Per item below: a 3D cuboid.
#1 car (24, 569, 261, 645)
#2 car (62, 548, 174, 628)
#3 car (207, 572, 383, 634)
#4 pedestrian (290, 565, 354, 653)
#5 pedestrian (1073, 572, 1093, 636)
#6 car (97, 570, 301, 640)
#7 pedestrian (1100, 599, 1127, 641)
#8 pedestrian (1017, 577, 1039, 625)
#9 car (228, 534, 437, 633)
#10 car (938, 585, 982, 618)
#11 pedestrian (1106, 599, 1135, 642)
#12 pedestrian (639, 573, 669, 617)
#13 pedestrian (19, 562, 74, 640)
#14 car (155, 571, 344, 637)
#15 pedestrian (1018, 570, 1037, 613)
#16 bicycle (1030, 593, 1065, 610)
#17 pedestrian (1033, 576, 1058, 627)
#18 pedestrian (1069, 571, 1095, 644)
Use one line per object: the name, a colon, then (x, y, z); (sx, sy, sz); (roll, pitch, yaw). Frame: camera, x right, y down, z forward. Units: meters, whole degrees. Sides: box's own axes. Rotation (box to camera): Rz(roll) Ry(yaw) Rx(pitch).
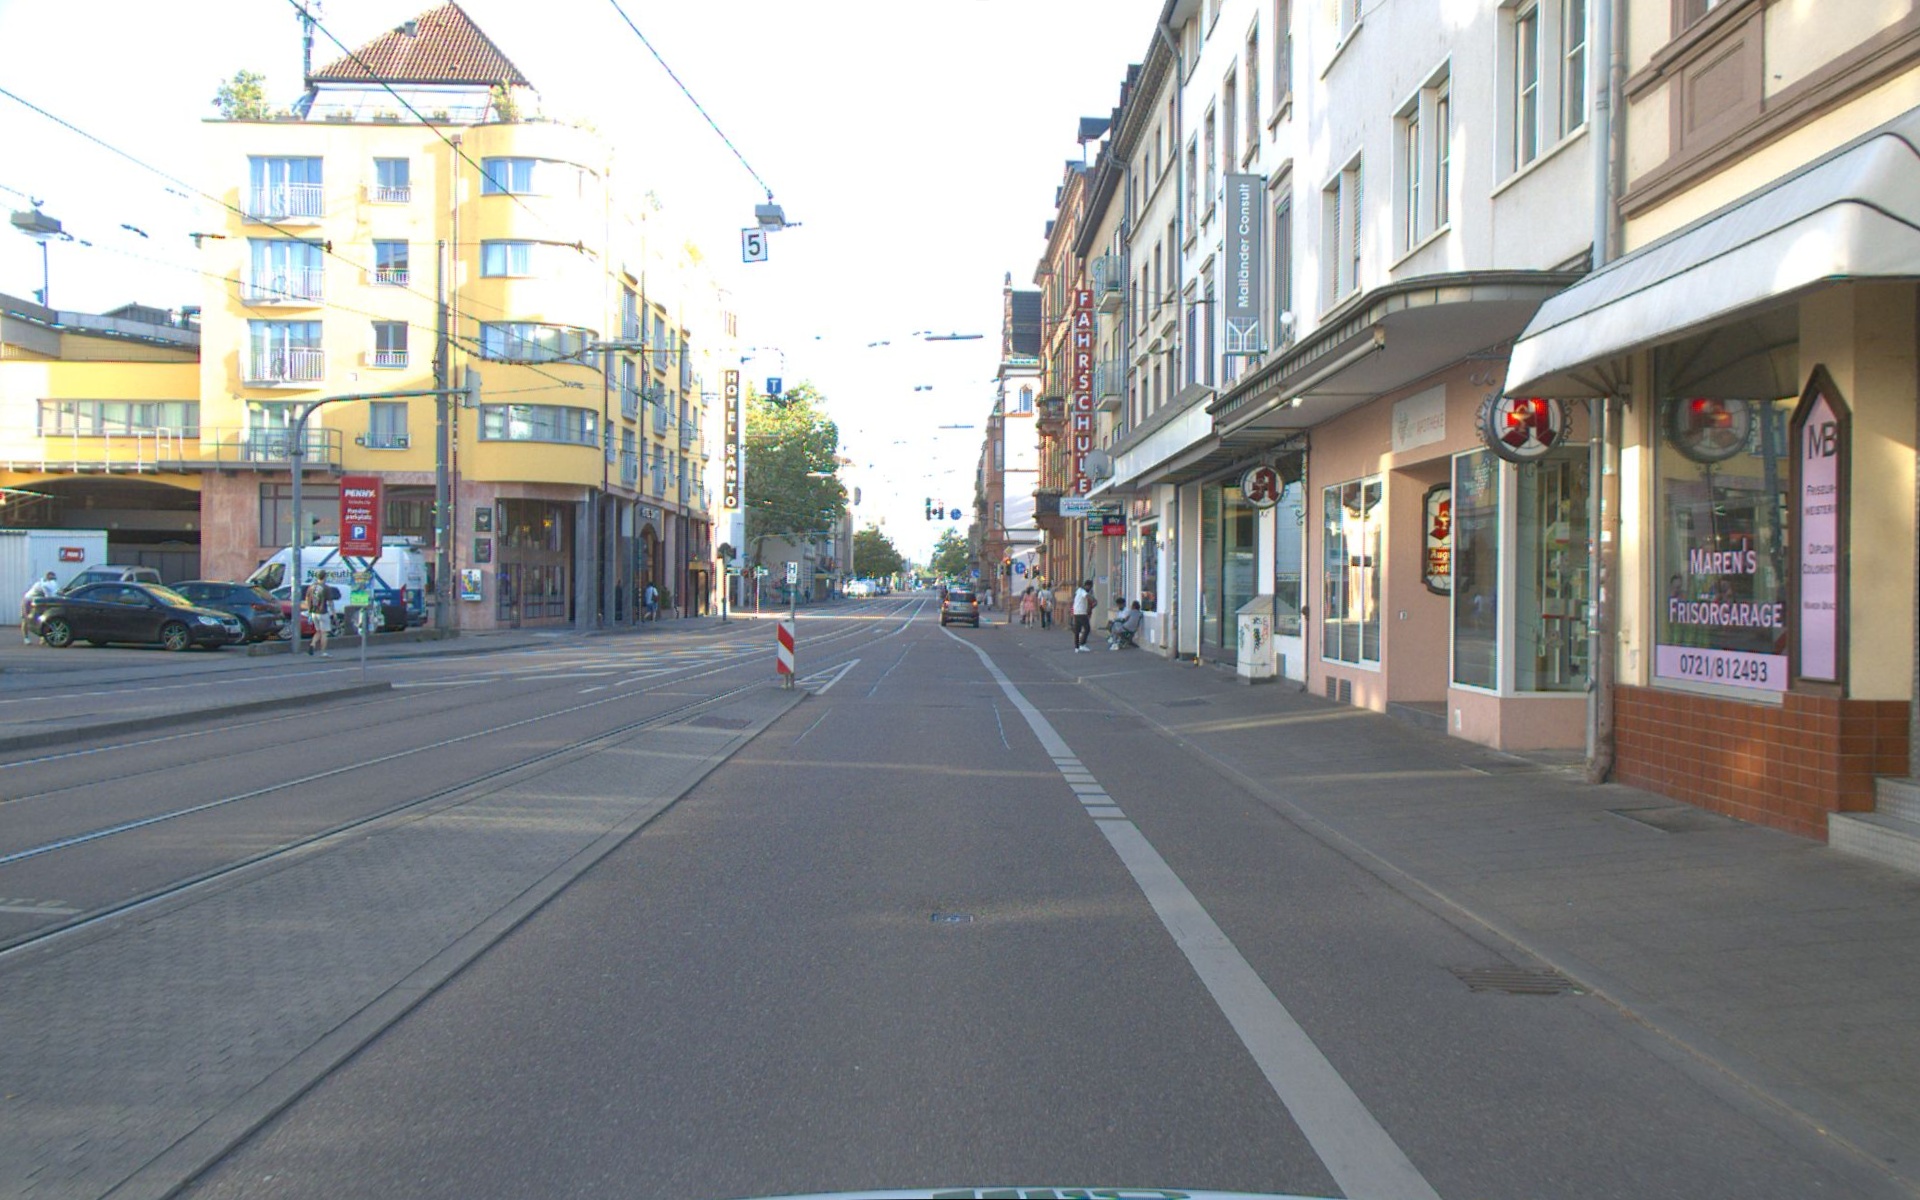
car: (-17.745, 0.141, 36.013); (4.231, 1.536, 1.800); (1, 0, 0)
car: (-24.936, -0.365, 49.138); (1.761, 2.246, 3.992); (1, 1, -9)
car: (-17.579, 0.062, 43.826); (3.905, 1.536, 1.800); (1, 0, 0)
pedestrian: (-13.695, 0.179, 35.545); (0.889, 1.846, 1.152); (1, 0, 1)
pedestrian: (3.583, 0.113, 47.975); (0.548, 1.828, 0.651); (0, 0, 6)
car: (-17.758, 0.106, 38.711); (3.905, 1.536, 1.800); (1, 0, 0)
pedestrian: (3.935, 0.514, 42.452); (0.676, 1.061, 0.681); (0, 0, 3)
pedestrian: (2.804, 0.034, 68.138); (0.826, 1.951, 0.661); (0, 0, -3)
car: (-17.532, -0.470, 46.403); (5.001, 2.620, 2.128); (1, 0, 0)
car: (-0.023, 0.046, 77.103); (1.953, 1.474, 3.999); (1, 1, -1)
pedestrian: (4.012, 0.517, 41.396); (0.676, 1.061, 0.681); (0, 0, 3)
pedestrian: (-12.957, -0.216, 70.023); (0.889, 1.846, 1.153); (1, 0, 10)
pedestrian: (-20.118, 0.020, 36.433); (0.884, 1.680, 0.752); (1, 0, -43)
car: (-17.683, 0.084, 41.293); (3.905, 1.536, 1.800); (1, 0, 0)
pedestrian: (3.094, -0.396, 76.047); (0.826, 1.951, 0.847); (0, 0, -3)
bicycle: (5.140, 0.090, 97.107); (1.893, 1.021, 0.754); (0, 1, 17)
pedestrian: (3.285, 0.051, 63.642); (0.831, 1.951, 1.034); (0, 0, -2)
pedestrian: (3.076, 0.191, 41.621); (0.635, 1.828, 0.562); (0, 0, 3)
